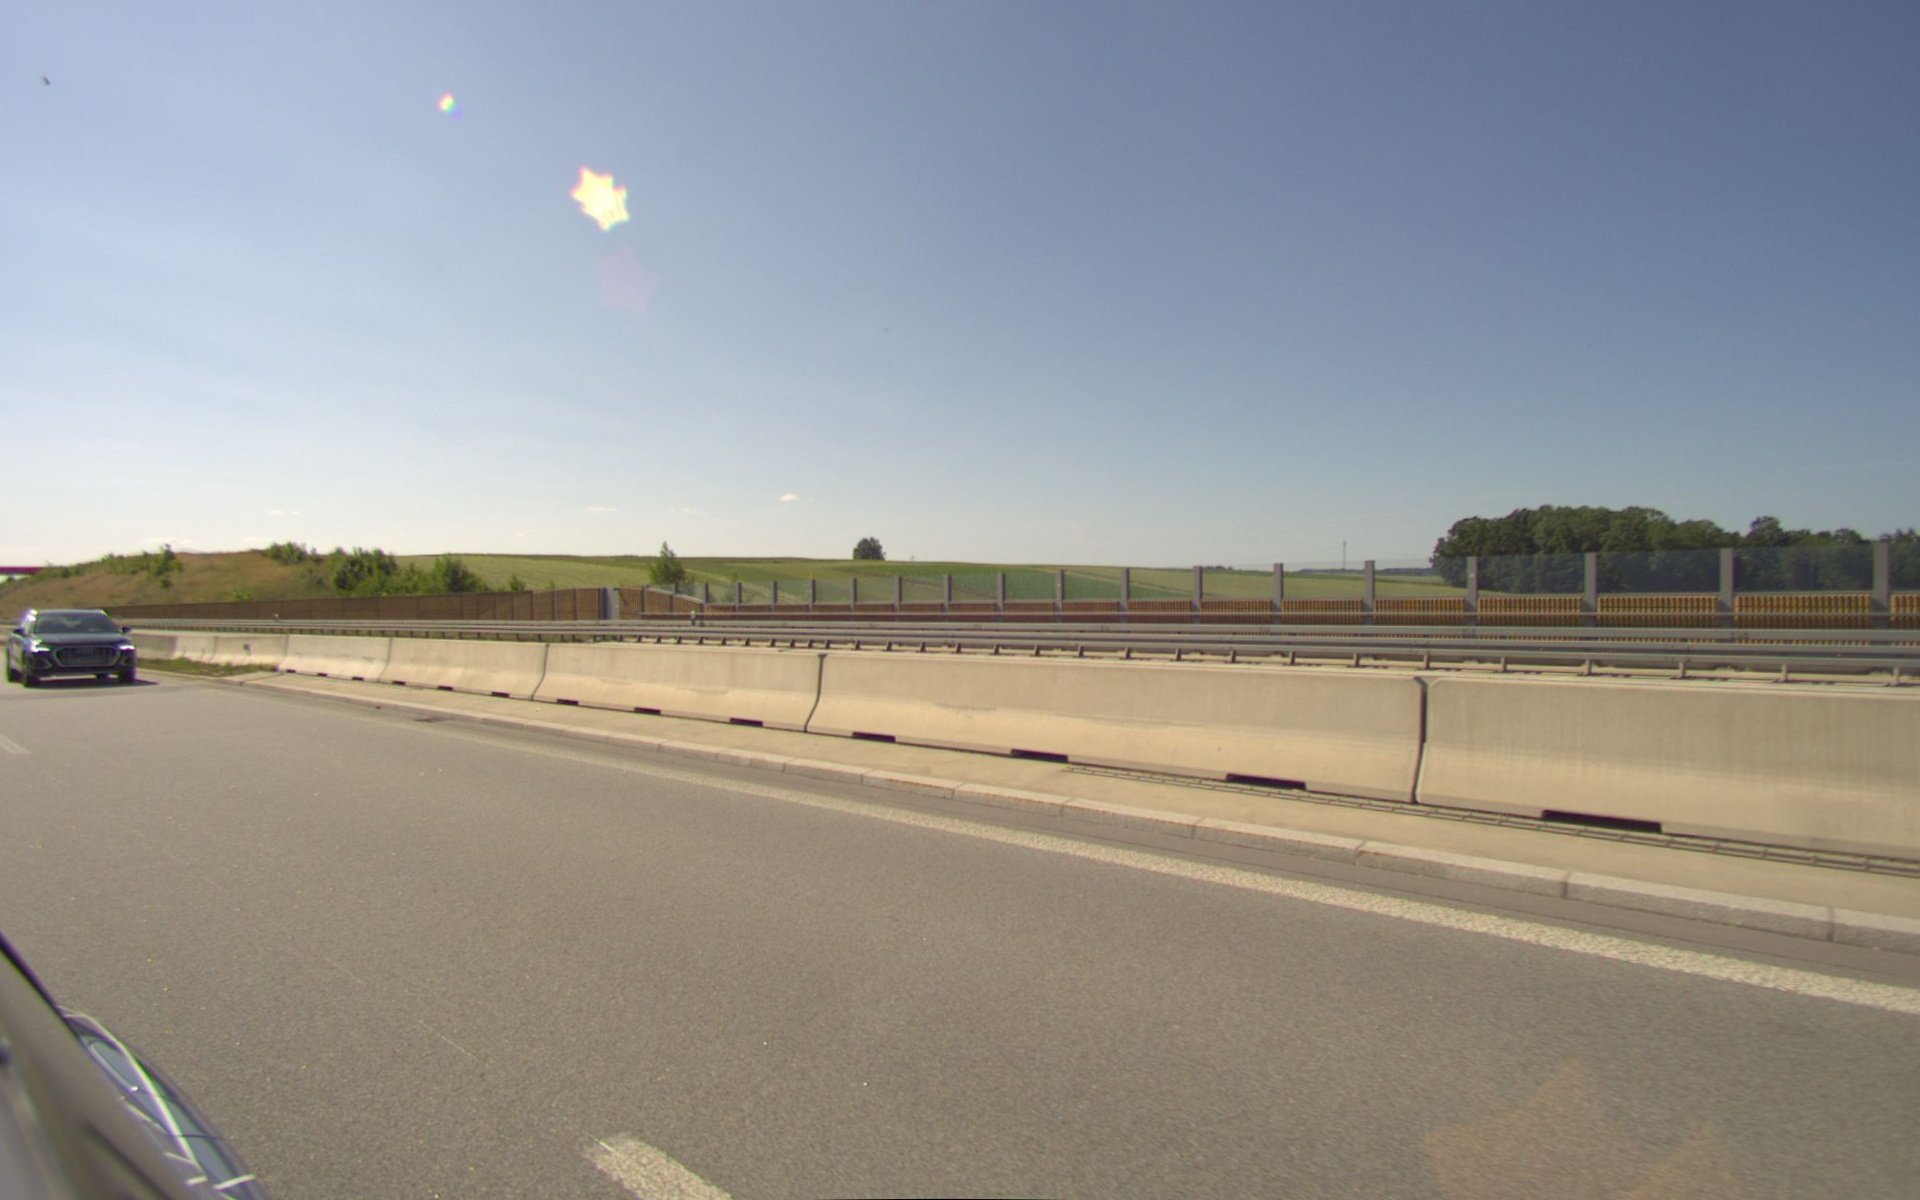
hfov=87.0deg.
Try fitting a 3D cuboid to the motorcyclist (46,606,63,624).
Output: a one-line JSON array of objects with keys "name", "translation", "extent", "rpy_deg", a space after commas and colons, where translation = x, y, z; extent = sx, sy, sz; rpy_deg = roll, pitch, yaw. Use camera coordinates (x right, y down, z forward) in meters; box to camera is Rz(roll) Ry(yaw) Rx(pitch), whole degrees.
[{"name": "motorcyclist", "translation": [-81.735, 1.356, 91.331], "extent": [1.428, 1.575, 1.002], "rpy_deg": [-1, -1, 41]}]

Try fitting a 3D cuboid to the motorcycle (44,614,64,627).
[{"name": "motorcycle", "translation": [-81.734, 1.886, 91.324], "extent": [2.867, 1.176, 1.002], "rpy_deg": [-2, -2, 42]}]

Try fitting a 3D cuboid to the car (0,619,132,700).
[{"name": "car", "translation": [-20.030, 1.237, 22.512], "extent": [5.220, 1.600, 1.703], "rpy_deg": [-1, -1, 42]}]
